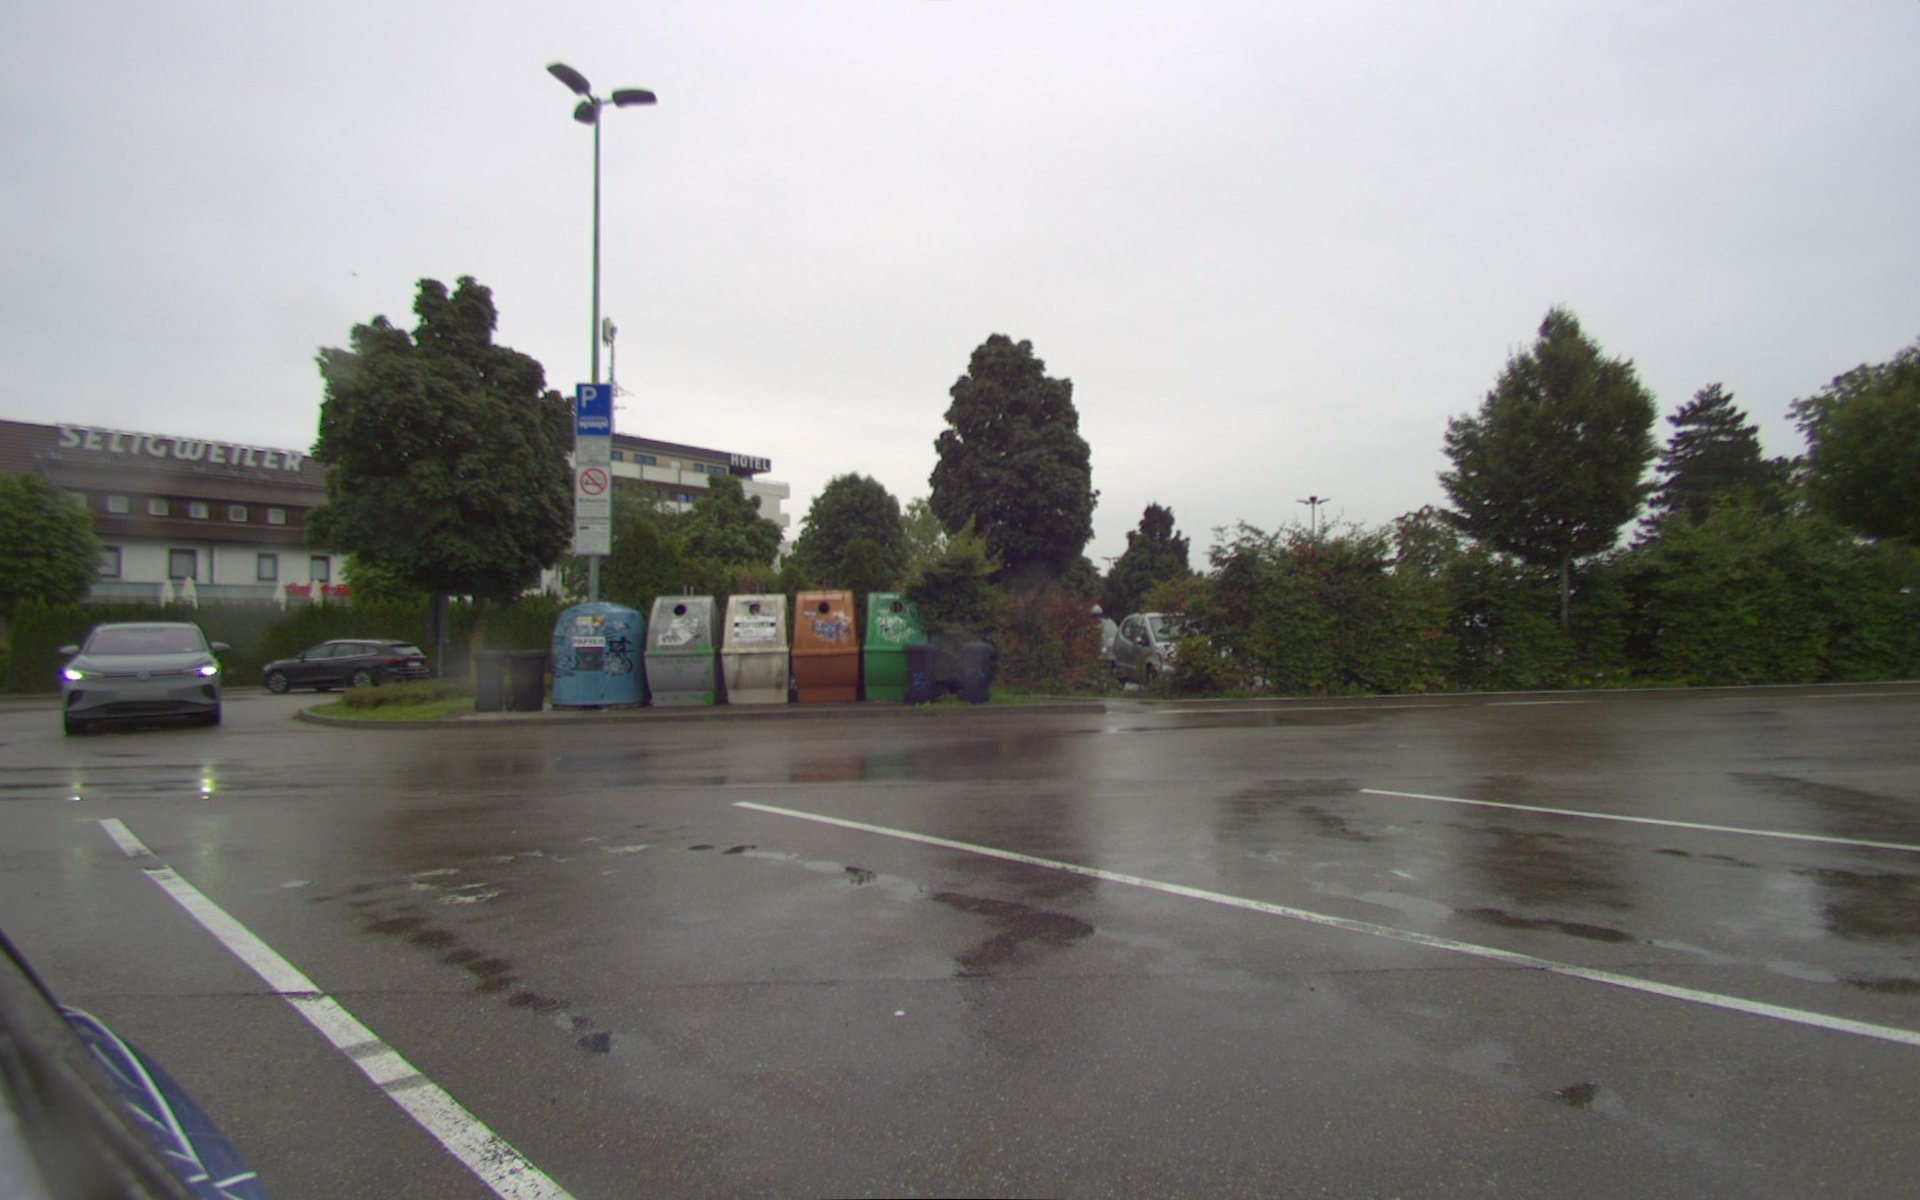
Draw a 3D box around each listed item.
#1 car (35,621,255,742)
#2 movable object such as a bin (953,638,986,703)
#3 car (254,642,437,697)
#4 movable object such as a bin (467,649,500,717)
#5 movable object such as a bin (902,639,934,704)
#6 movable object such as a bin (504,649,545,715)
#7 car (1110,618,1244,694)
[{"bbox_3d":[-12.691,1.179,16.096,1.966,1.586,4.514,-1,-2,-29],"label":"car"},{"bbox_3d":[0.130,1.019,14.747,0.432,0.923,0.509,-2,-2,-1],"label":"movable object such as a bin"},{"bbox_3d":[-17.500,1.968,28.896,4.279,1.460,1.865,-1,-3,8],"label":"car"},{"bbox_3d":[-7.103,1.229,15.092,0.427,0.956,0.475,-1,-1,-25],"label":"movable object such as a bin"},{"bbox_3d":[-0.621,1.047,15.015,0.432,0.930,0.508,-2,-2,1],"label":"movable object such as a bin"},{"bbox_3d":[-6.535,1.221,15.185,0.450,0.956,0.400,-2,-1,41],"label":"movable object such as a bin"},{"bbox_3d":[4.113,1.025,19.719,1.782,1.278,3.647,-1,-1,0],"label":"car"}]
